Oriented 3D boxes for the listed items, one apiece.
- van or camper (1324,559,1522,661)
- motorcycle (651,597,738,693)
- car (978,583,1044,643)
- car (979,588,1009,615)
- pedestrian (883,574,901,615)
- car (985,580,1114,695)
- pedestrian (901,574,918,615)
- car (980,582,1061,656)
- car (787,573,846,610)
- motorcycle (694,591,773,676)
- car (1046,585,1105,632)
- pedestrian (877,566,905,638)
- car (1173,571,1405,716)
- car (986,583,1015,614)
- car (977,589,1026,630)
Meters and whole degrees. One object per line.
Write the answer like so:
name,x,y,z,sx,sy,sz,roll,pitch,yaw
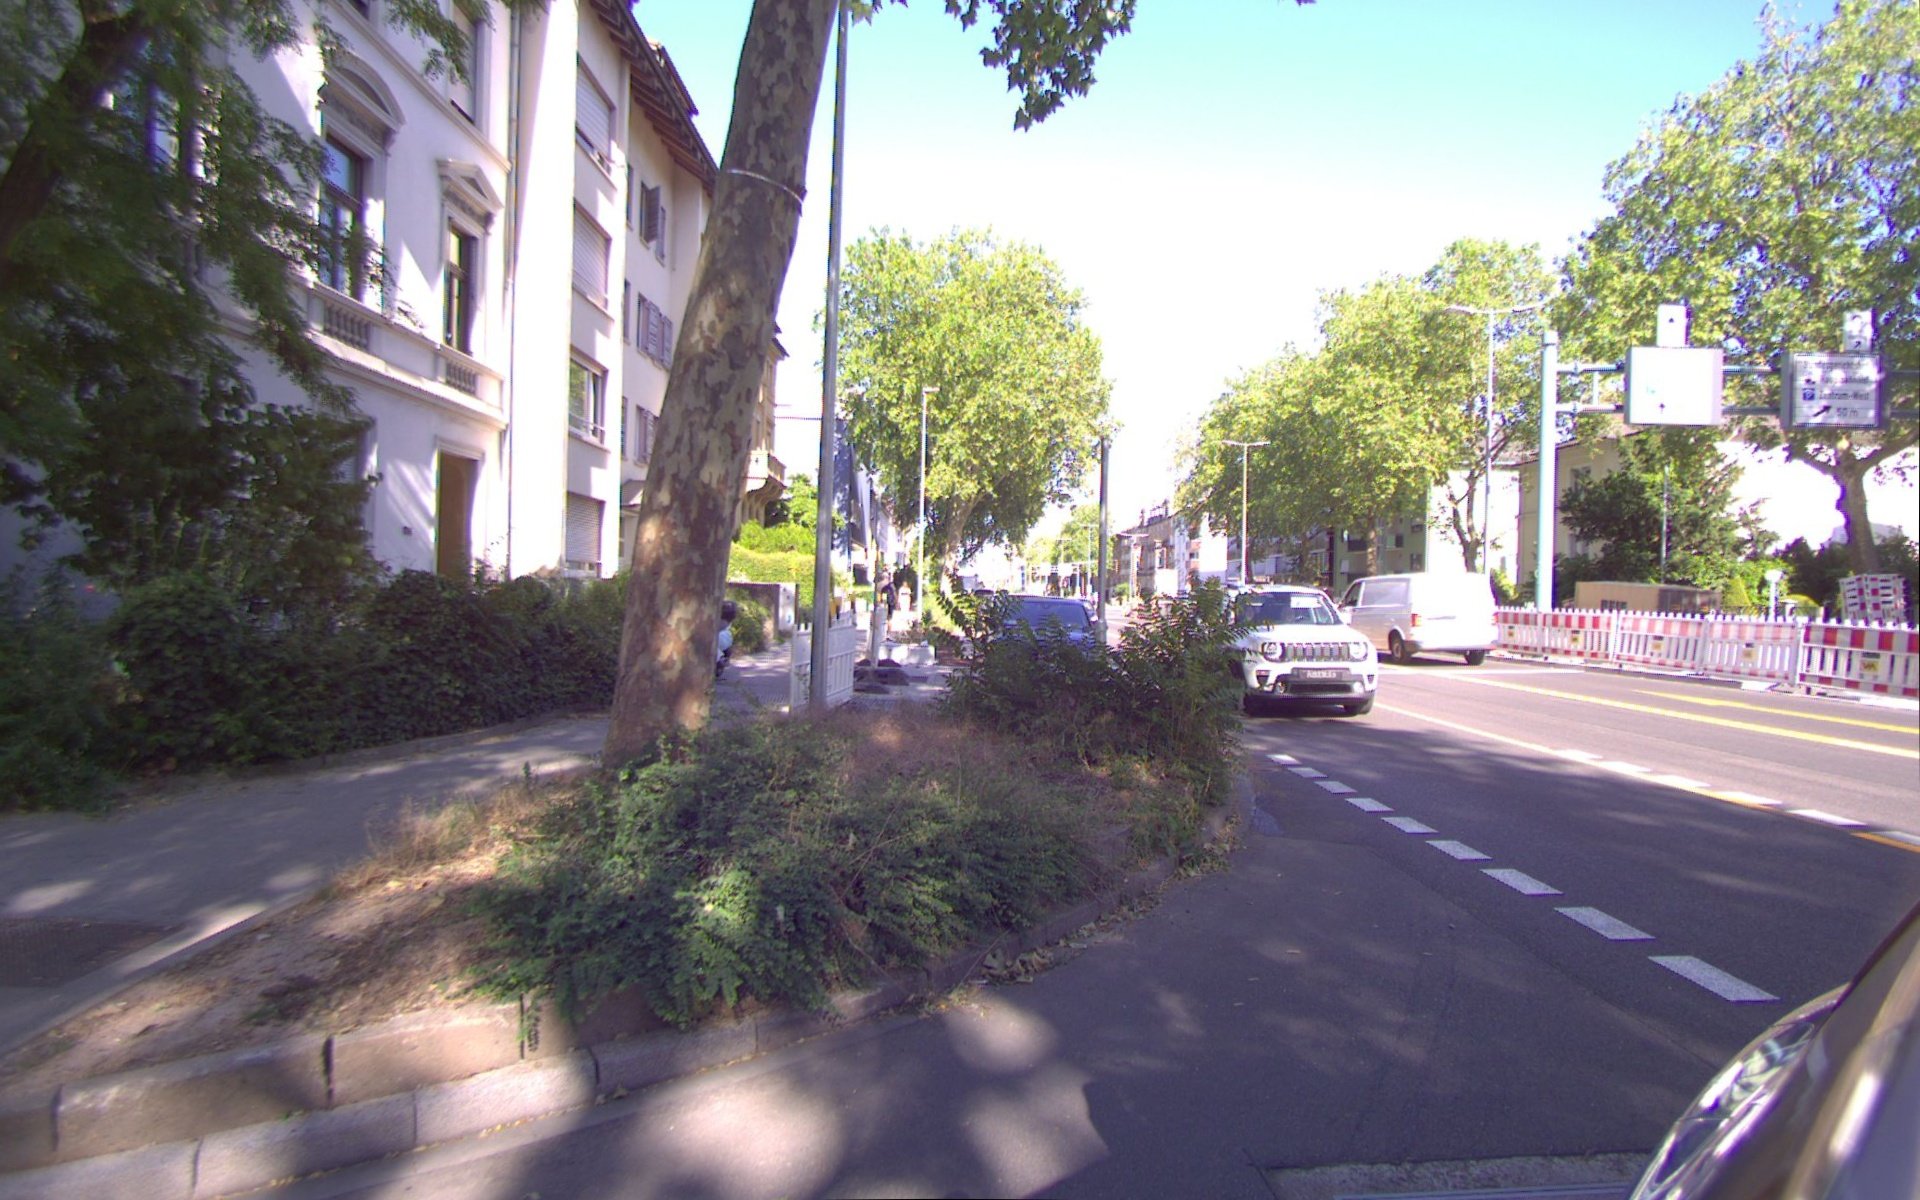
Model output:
van or camper,10.316,0.172,23.127,1.961,2.039,5.330,0,1,-1
motorcycle,-3.530,0.564,13.568,0.588,1.201,1.552,1,0,7
car,1.387,0.323,28.563,1.594,1.504,3.734,3,0,0
car,2.008,0.073,60.432,1.643,1.536,3.997,2,0,0
pedestrian,-3.076,-0.266,45.708,0.686,1.819,0.802,2,0,0
car,1.283,0.498,15.951,1.594,1.504,4.097,3,0,0
pedestrian,-2.268,-0.237,45.582,0.686,1.819,0.715,2,0,0
car,1.339,0.387,23.851,1.594,1.504,4.057,3,0,0
car,-7.675,-0.493,53.941,1.763,1.844,4.006,1,1,-29
motorcycle,-3.392,0.463,15.315,0.588,1.201,1.799,1,0,7
car,4.542,0.293,40.348,1.834,1.748,4.506,0,0,0
pedestrian,-1.843,0.041,27.116,0.654,1.872,0.694,2,0,0
car,4.457,0.504,14.502,1.834,1.748,4.506,0,0,0
car,2.659,-0.106,67.897,1.721,1.990,4.506,2,0,0
car,1.593,0.327,40.070,1.689,1.430,4.476,4,0,0
